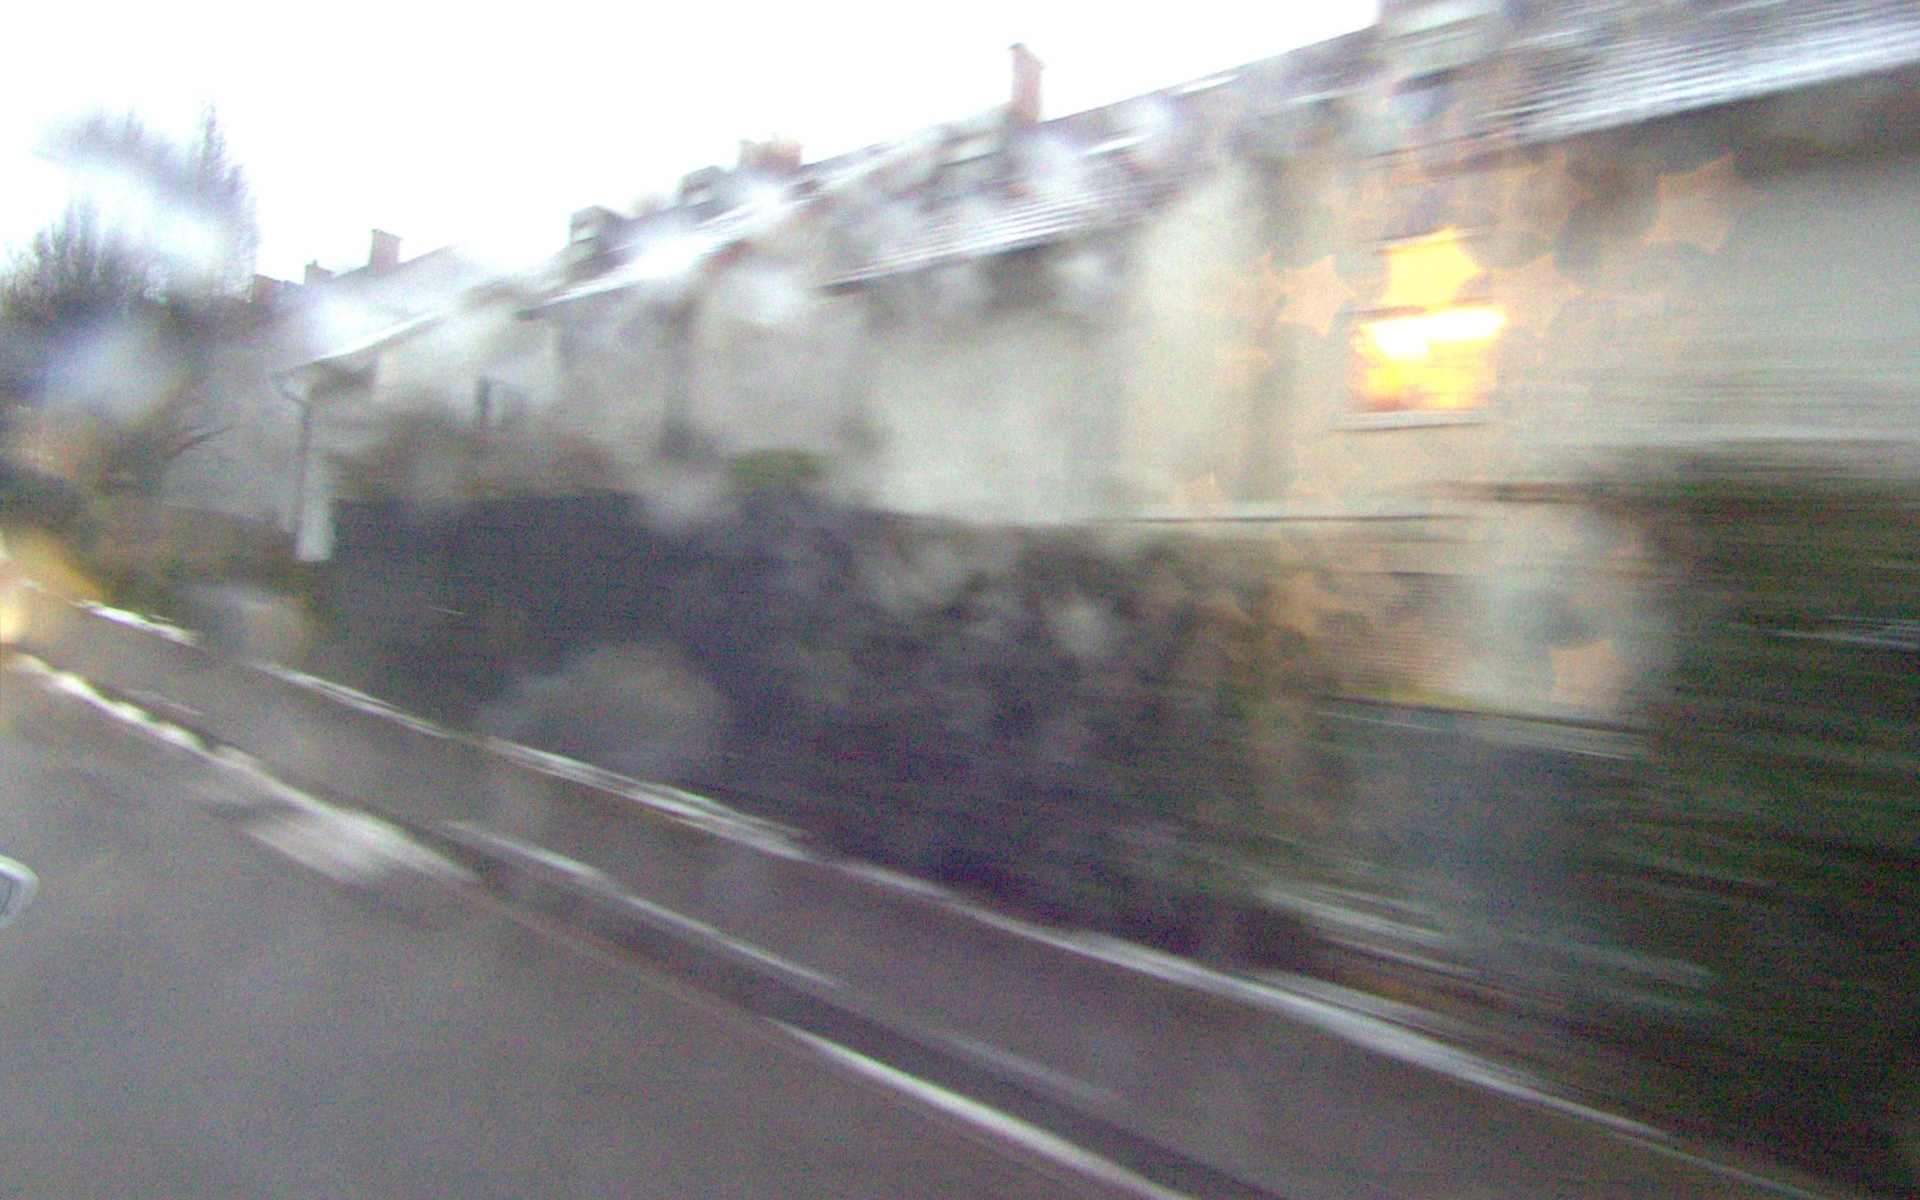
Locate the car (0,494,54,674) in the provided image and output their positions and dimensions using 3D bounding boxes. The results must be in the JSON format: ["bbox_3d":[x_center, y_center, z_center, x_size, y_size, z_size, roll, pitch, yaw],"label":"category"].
[{"bbox_3d":[-10.170,-0.361,9.300,3.962,1.523,1.706,6,-2,35],"label":"car"}]
